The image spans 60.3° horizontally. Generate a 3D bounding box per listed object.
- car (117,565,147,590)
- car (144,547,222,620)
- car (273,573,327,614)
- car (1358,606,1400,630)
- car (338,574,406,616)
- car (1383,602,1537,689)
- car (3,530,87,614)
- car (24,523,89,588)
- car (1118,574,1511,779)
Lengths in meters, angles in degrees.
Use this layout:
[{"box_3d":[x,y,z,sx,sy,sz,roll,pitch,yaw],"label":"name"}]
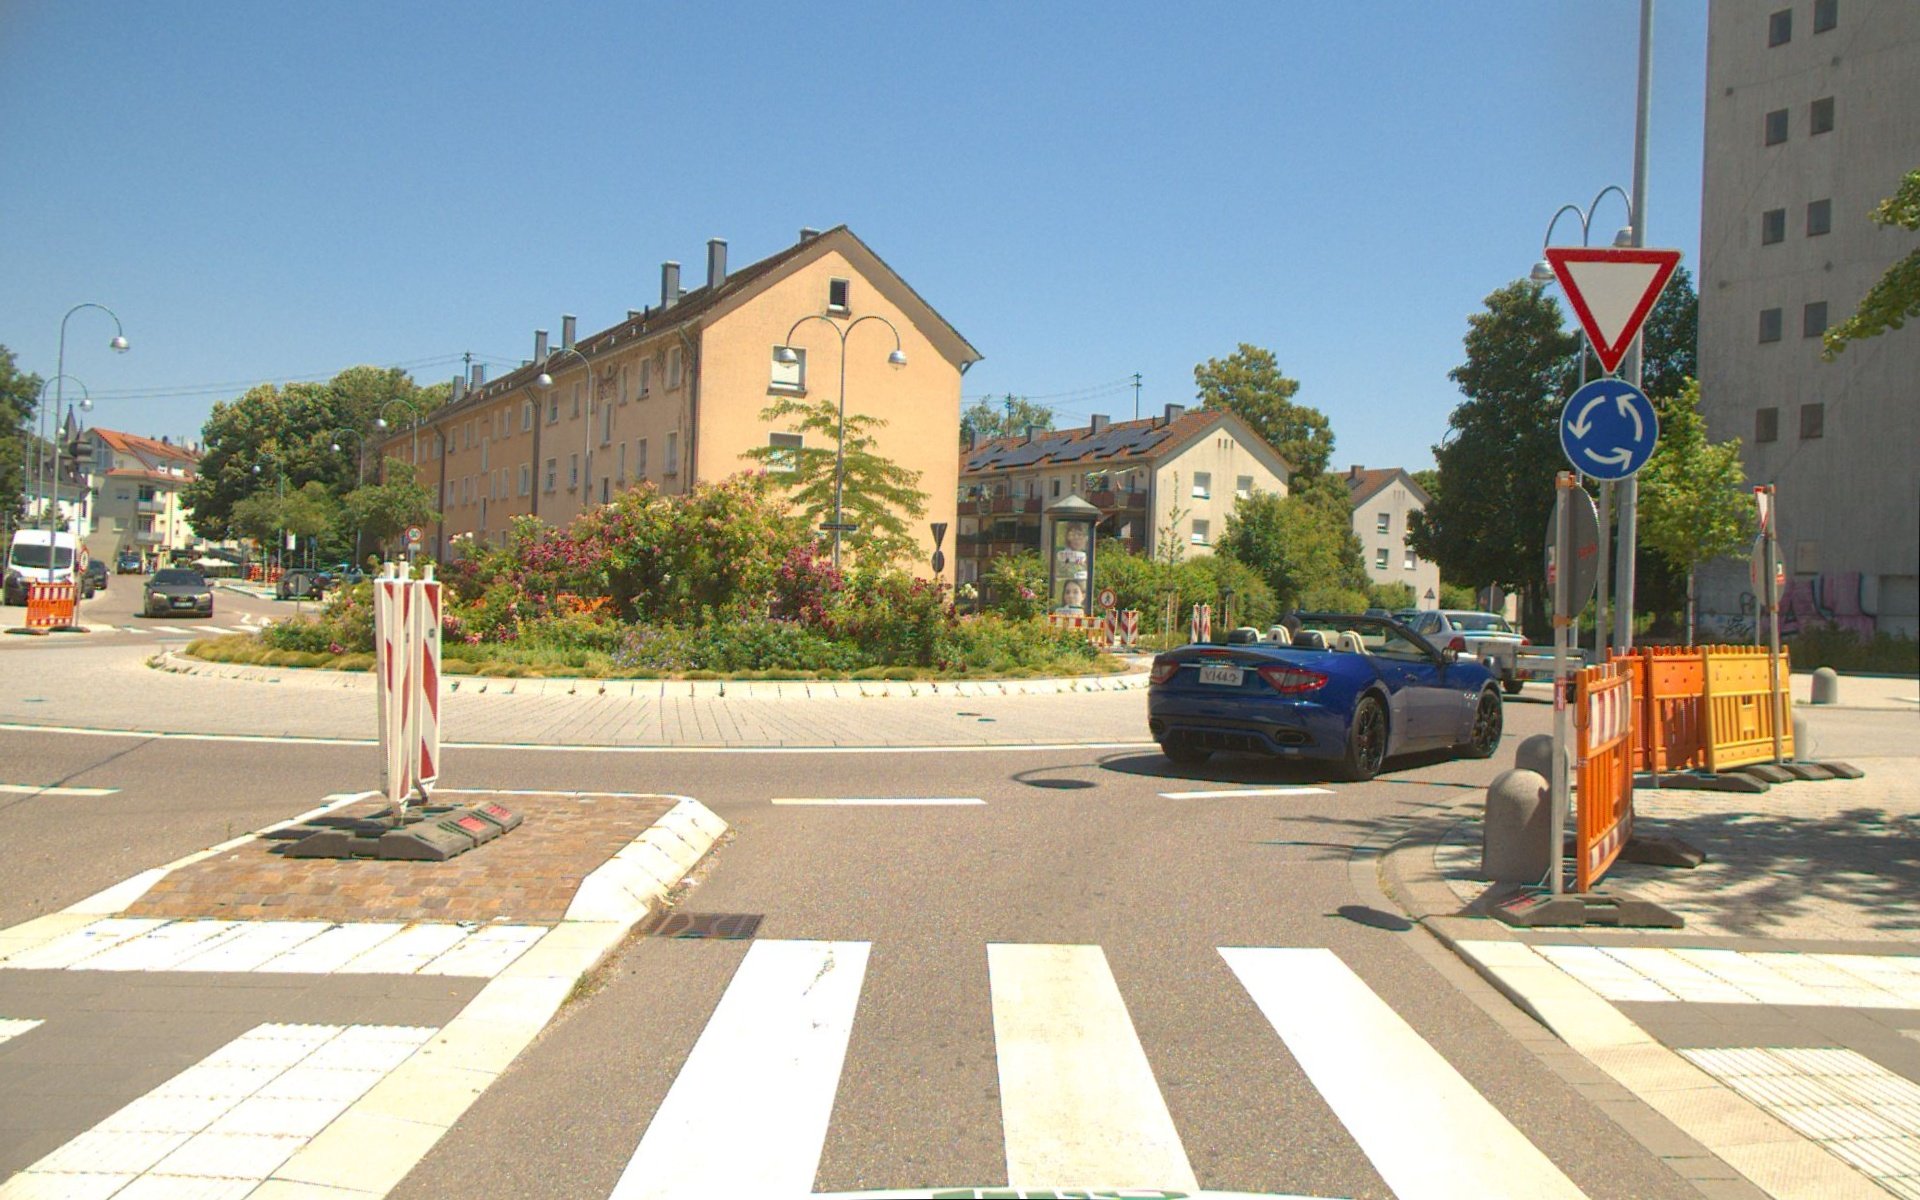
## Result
[{"box_3d":[-65.137,-1.759,130.118,1.793,1.825,3.960,4,-1,-30],"label":"car"},{"box_3d":[-23.694,-0.510,50.537,1.968,2.049,3.970,4,-1,-24],"label":"car"},{"box_3d":[-31.842,-0.326,79.769,1.793,1.825,3.960,4,-1,-30],"label":"car"},{"box_3d":[25.765,1.103,101.667,1.705,1.461,3.705,0,0,28],"label":"car"},{"box_3d":[-23.445,-0.212,65.829,1.793,1.526,3.960,4,-1,-30],"label":"car"},{"box_3d":[8.986,0.779,30.018,1.703,1.461,3.710,0,0,0],"label":"car"},{"box_3d":[-31.039,-0.941,56.275,2.119,2.577,6.183,4,-1,-27],"label":"car"},{"box_3d":[-38.621,-1.866,70.781,2.119,2.577,4.812,4,-1,-27],"label":"car"},{"box_3d":[3.359,0.703,14.933,1.839,1.557,4.490,1,-3,35],"label":"car"}]
